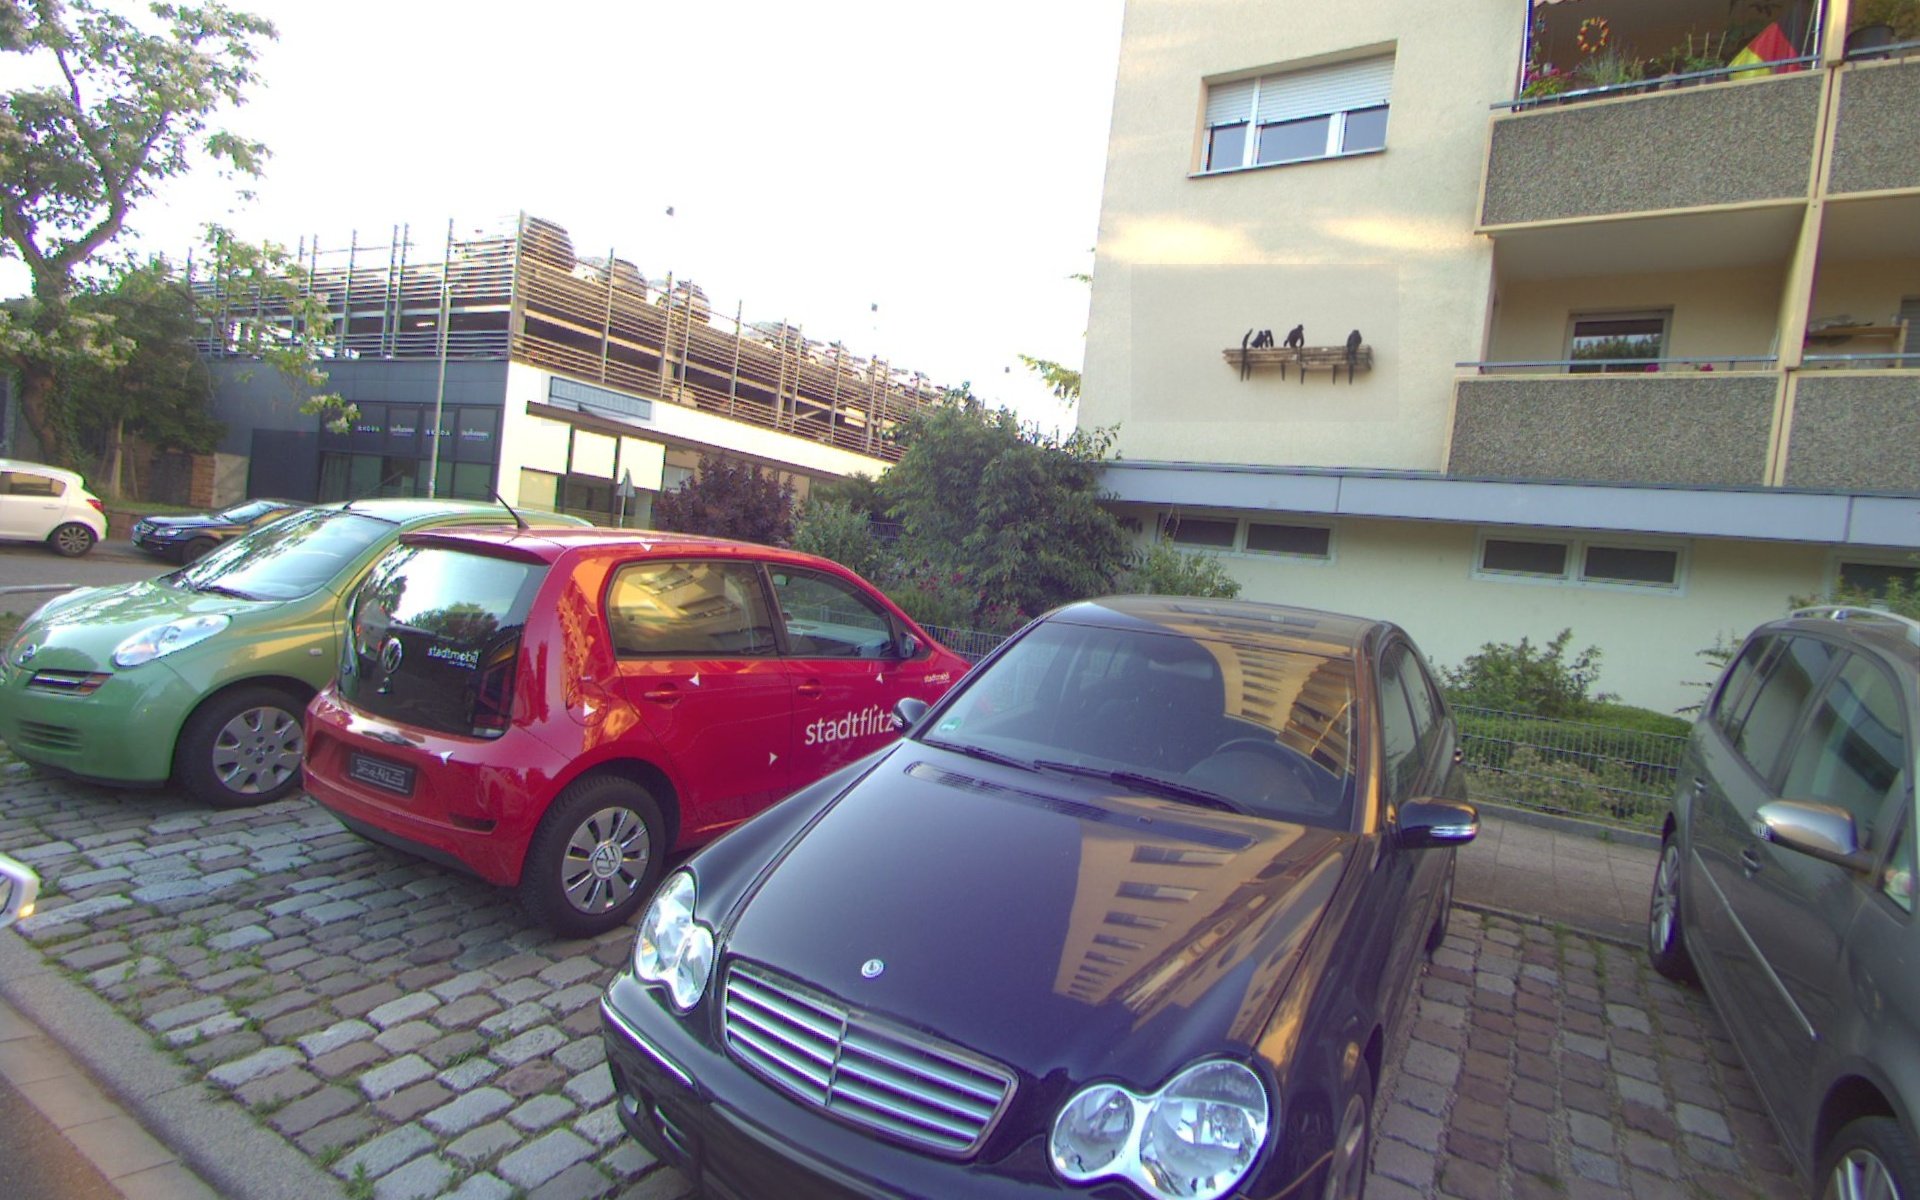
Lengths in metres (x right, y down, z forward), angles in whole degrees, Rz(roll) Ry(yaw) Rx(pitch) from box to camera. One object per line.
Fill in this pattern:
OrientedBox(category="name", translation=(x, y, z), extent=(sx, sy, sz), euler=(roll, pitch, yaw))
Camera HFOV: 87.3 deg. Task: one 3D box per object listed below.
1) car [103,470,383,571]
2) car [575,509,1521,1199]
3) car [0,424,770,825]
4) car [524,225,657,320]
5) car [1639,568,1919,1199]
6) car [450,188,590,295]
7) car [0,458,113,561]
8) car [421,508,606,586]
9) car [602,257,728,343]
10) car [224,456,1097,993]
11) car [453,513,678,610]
OrientedBox(category="car", translation=(-14.600, -1.573, 20.711), extent=(1.794, 1.523, 4.291), euler=(8, 2, 35))
OrientedBox(category="car", translation=(0.981, 0.686, 3.838), extent=(1.814, 1.551, 4.407), euler=(5, 1, 28))
OrientedBox(category="car", translation=(-3.397, 0.092, 6.509), extent=(1.814, 1.653, 4.408), euler=(5, 1, 28))
OrientedBox(category="car", translation=(-11.921, -10.460, 32.419), extent=(3.937, 2.039, 1.994), euler=(7, 1, 36))
OrientedBox(category="car", translation=(3.274, 0.844, 2.708), extent=(1.814, 1.684, 4.405), euler=(5, 3, 28))
OrientedBox(category="car", translation=(-13.241, -10.664, 30.212), extent=(3.937, 2.039, 1.994), euler=(7, 1, 36))
OrientedBox(category="car", translation=(-17.204, -1.727, 17.037), extent=(1.924, 1.593, 3.861), euler=(8, 1, 29))
OrientedBox(category="car", translation=(-11.177, -1.300, 25.400), extent=(1.794, 1.523, 3.835), euler=(8, 2, 35))
OrientedBox(category="car", translation=(-10.151, -10.223, 34.543), extent=(3.937, 2.039, 1.994), euler=(7, 1, 36))
OrientedBox(category="car", translation=(-1.083, 0.306, 5.495), extent=(1.815, 1.655, 4.398), euler=(8, 5, 32))
OrientedBox(category="car", translation=(-7.933, -0.730, 20.511), extent=(1.794, 1.544, 3.835), euler=(8, 2, 35))
